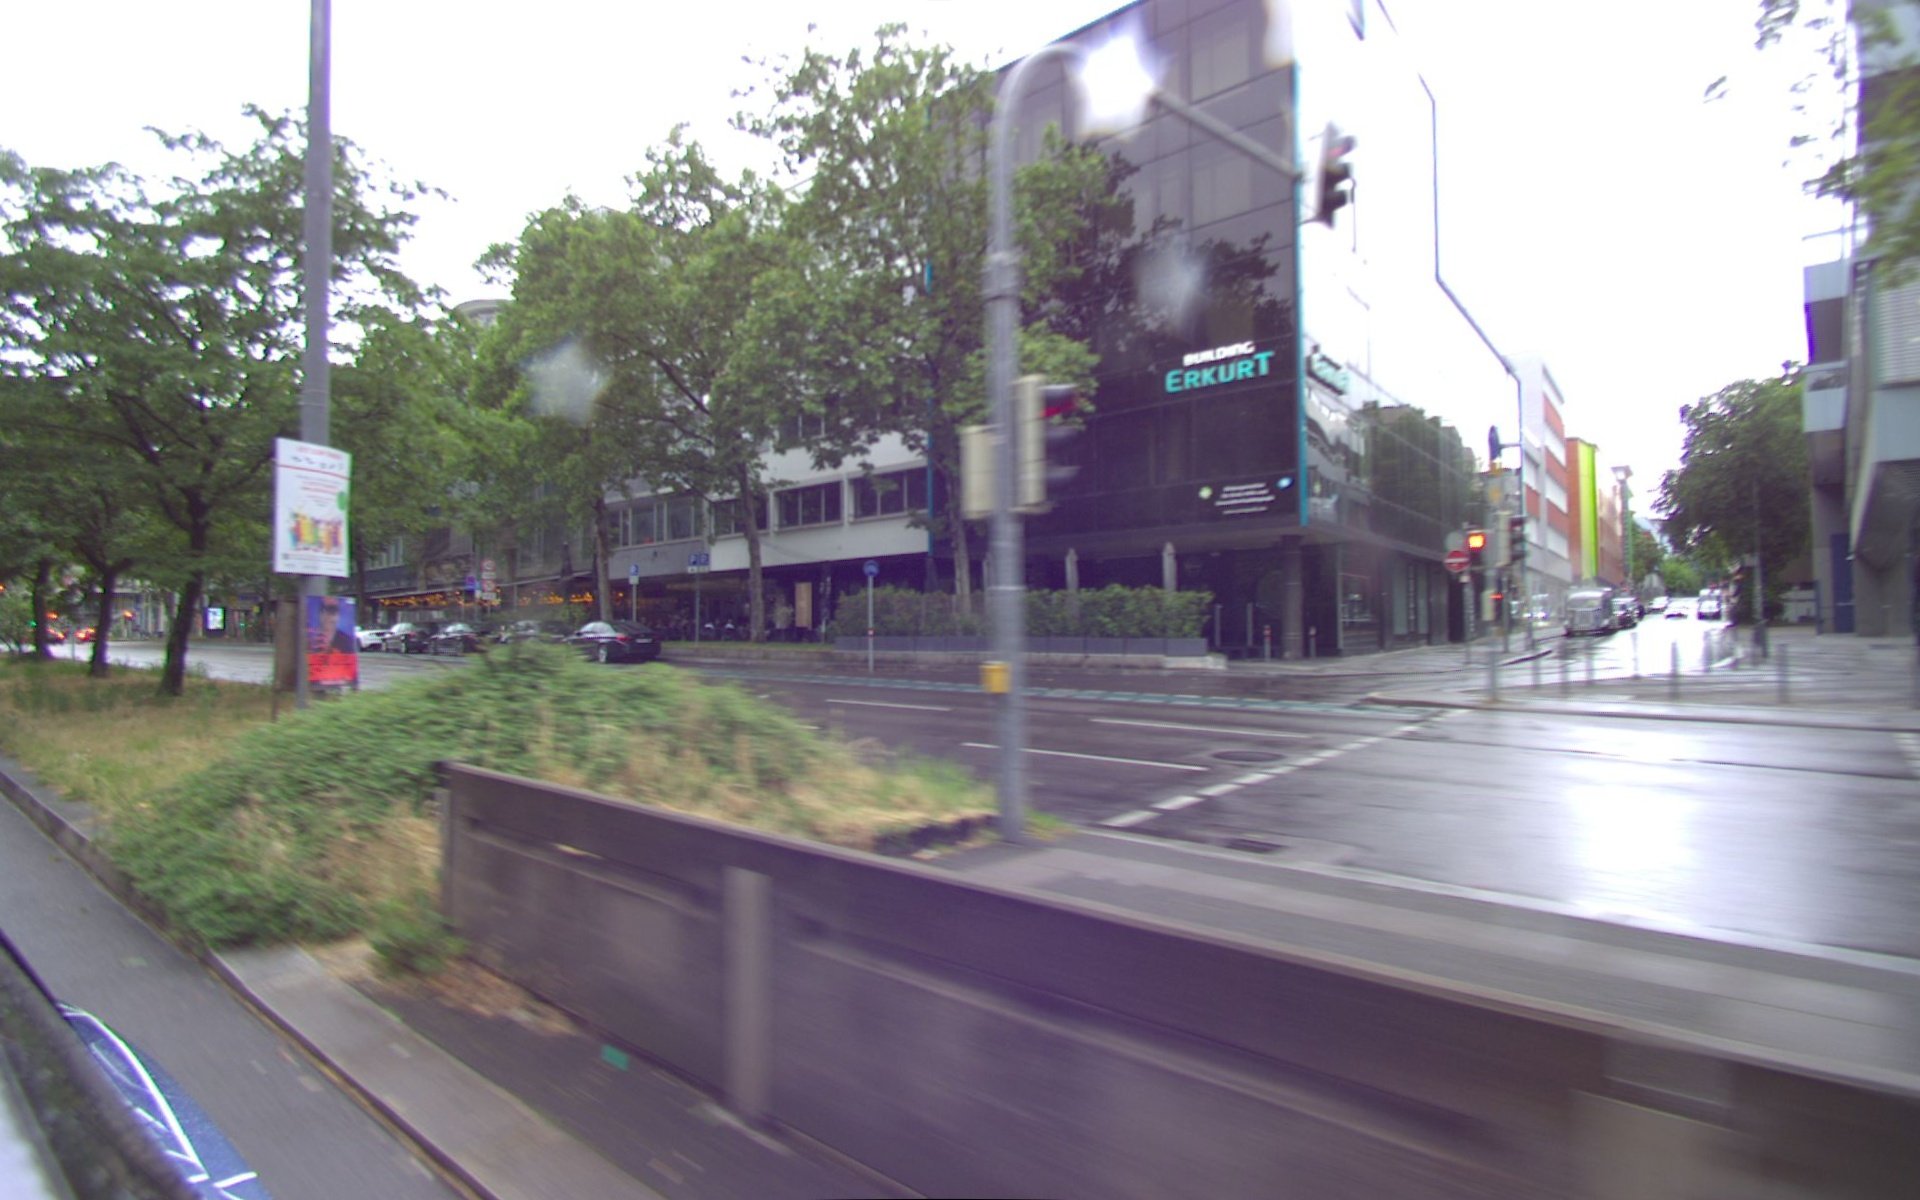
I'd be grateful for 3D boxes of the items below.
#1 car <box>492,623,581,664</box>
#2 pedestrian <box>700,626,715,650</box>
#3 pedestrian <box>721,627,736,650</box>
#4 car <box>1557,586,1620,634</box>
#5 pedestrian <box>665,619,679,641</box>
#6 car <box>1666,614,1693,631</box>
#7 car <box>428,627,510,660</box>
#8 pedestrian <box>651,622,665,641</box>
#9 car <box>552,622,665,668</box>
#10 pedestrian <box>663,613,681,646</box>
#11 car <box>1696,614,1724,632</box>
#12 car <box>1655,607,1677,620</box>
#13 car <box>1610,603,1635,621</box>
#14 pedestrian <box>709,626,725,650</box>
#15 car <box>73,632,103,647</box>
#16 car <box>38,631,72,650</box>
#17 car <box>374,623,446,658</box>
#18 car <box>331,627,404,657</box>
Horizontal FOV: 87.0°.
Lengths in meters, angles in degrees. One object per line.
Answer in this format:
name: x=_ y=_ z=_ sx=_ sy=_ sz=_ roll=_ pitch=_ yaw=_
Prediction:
car: x=-16.305 y=1.641 z=38.897 sx=3.399 sy=1.433 sz=1.851 roll=-1 pitch=0 yaw=41
pedestrian: x=-11.018 y=1.649 z=44.134 sx=0.461 sy=1.000 sz=0.455 roll=-1 pitch=0 yaw=25
pedestrian: x=-9.959 y=1.639 z=43.581 sx=0.451 sy=0.970 sz=0.454 roll=-1 pitch=0 yaw=25
car: x=32.729 y=0.451 z=52.617 sx=2.246 sy=2.341 sz=6.681 roll=-1 pitch=0 yaw=36
pedestrian: x=-13.087 y=1.361 z=46.019 sx=0.423 sy=1.024 sz=0.459 roll=-1 pitch=0 yaw=38
car: x=69.536 y=2.126 z=97.823 sx=1.997 sy=1.519 sz=3.949 roll=-1 pitch=0 yaw=38
car: x=-20.847 y=1.794 z=42.887 sx=4.318 sy=1.249 sz=1.626 roll=-1 pitch=0 yaw=42
pedestrian: x=-14.027 y=1.448 z=47.025 sx=0.432 sy=0.856 sz=0.435 roll=-1 pitch=0 yaw=38
car: x=-12.332 y=1.523 z=35.343 sx=4.538 sy=1.396 sz=1.850 roll=-1 pitch=0 yaw=44
pedestrian: x=-14.642 y=1.491 z=51.472 sx=0.622 sy=1.660 sz=0.599 roll=-1 pitch=0 yaw=36
car: x=68.572 y=2.065 z=92.531 sx=1.997 sy=1.519 sz=3.949 roll=-1 pitch=0 yaw=38
car: x=87.284 y=1.714 z=125.142 sx=1.997 sy=1.519 sz=3.949 roll=-1 pitch=0 yaw=38
car: x=44.606 y=0.785 z=68.145 sx=1.285 sy=1.141 sz=2.650 roll=-1 pitch=0 yaw=35
pedestrian: x=-10.524 y=1.627 z=43.774 sx=0.488 sy=1.008 sz=0.482 roll=-1 pitch=0 yaw=25
car: x=-85.492 y=3.828 z=99.215 sx=3.736 sy=1.335 sz=1.743 roll=-1 pitch=0 yaw=41
car: x=-84.492 y=3.781 z=94.486 sx=3.725 sy=1.586 sz=1.759 roll=-1 pitch=0 yaw=39
car: x=-25.509 y=1.857 z=46.922 sx=3.787 sy=1.464 sz=1.728 roll=-1 pitch=0 yaw=41
car: x=-29.633 y=2.051 z=50.599 sx=4.390 sy=1.336 sz=1.857 roll=-1 pitch=0 yaw=41
